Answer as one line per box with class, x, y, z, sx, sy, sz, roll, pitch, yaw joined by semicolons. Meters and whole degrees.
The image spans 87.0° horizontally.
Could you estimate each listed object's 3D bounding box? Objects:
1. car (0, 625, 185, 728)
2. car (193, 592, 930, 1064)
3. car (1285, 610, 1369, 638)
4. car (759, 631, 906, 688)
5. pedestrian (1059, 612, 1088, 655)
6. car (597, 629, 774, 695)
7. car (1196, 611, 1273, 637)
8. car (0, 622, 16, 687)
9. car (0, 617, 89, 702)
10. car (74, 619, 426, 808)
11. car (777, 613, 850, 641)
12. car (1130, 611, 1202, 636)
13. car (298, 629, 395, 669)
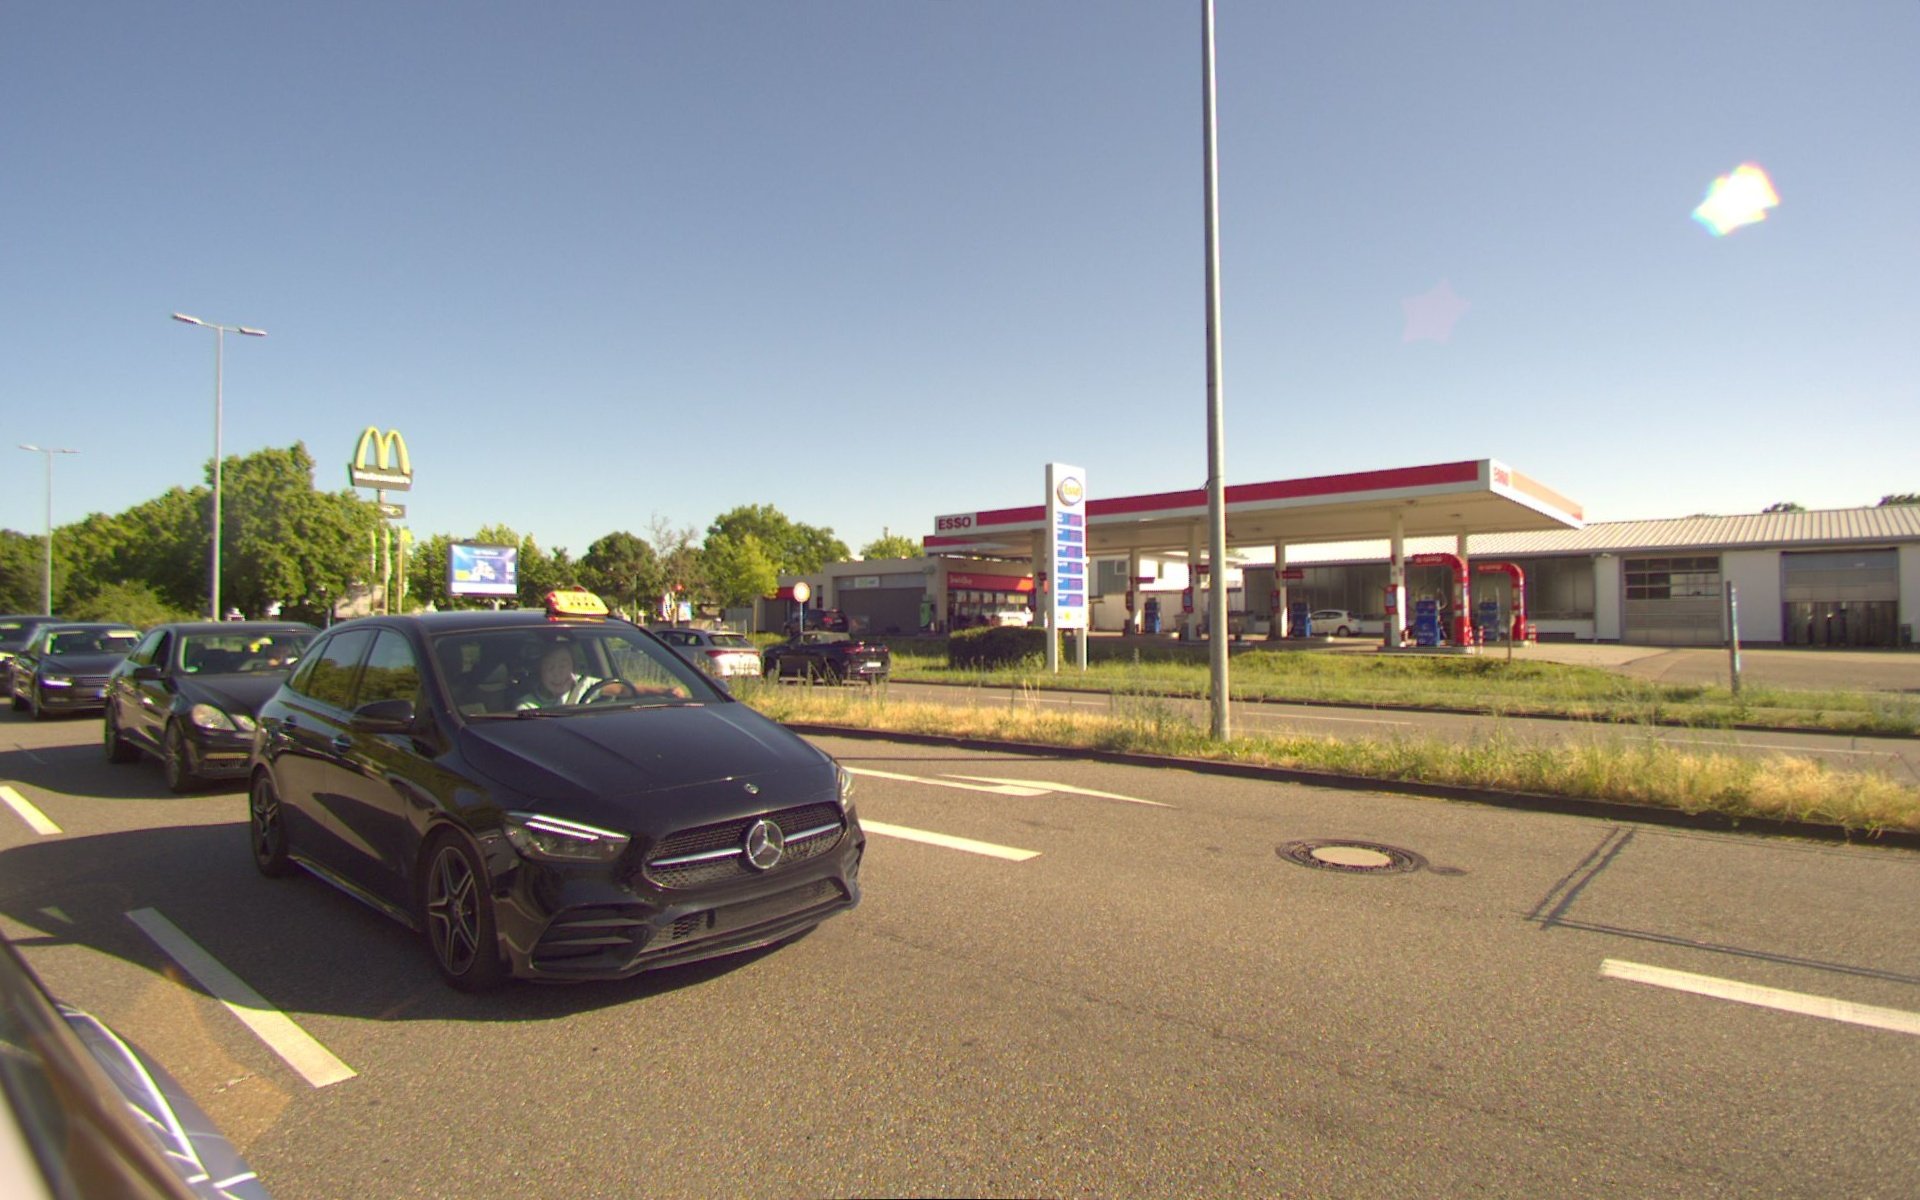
car;-14.441;1.161;16.687;4.284;1.438;1.775;-1;0;40
car;-2.373;0.743;5.328;4.400;1.502;1.741;-1;0;40
car;19.848;1.316;54.833;3.975;1.420;1.661;-1;-4;40
car;-3.546;1.608;27.828;3.975;1.420;1.741;-1;-4;40
pedestrian;4.707;1.389;42.044;0.779;1.763;0.904;-1;0;-44
car;-6.628;1.445;24.257;4.295;1.420;1.713;-1;-3;35
car;15.846;1.367;58.575;3.975;1.420;1.661;-1;-4;40
car;-25.213;1.377;25.534;3.774;1.567;1.615;-1;-1;40
car;-19.928;1.211;21.437;3.876;1.629;1.653;-2;-1;40
car;-7.251;0.937;10.155;4.400;1.449;1.845;-1;0;40
car;-7.953;1.443;54.850;3.975;1.420;1.661;-1;-4;40
car;12.448;1.411;61.374;3.975;1.420;1.661;-1;-4;40
car;-25.396;2.009;41.822;4.872;1.502;1.742;-1;-4;38
